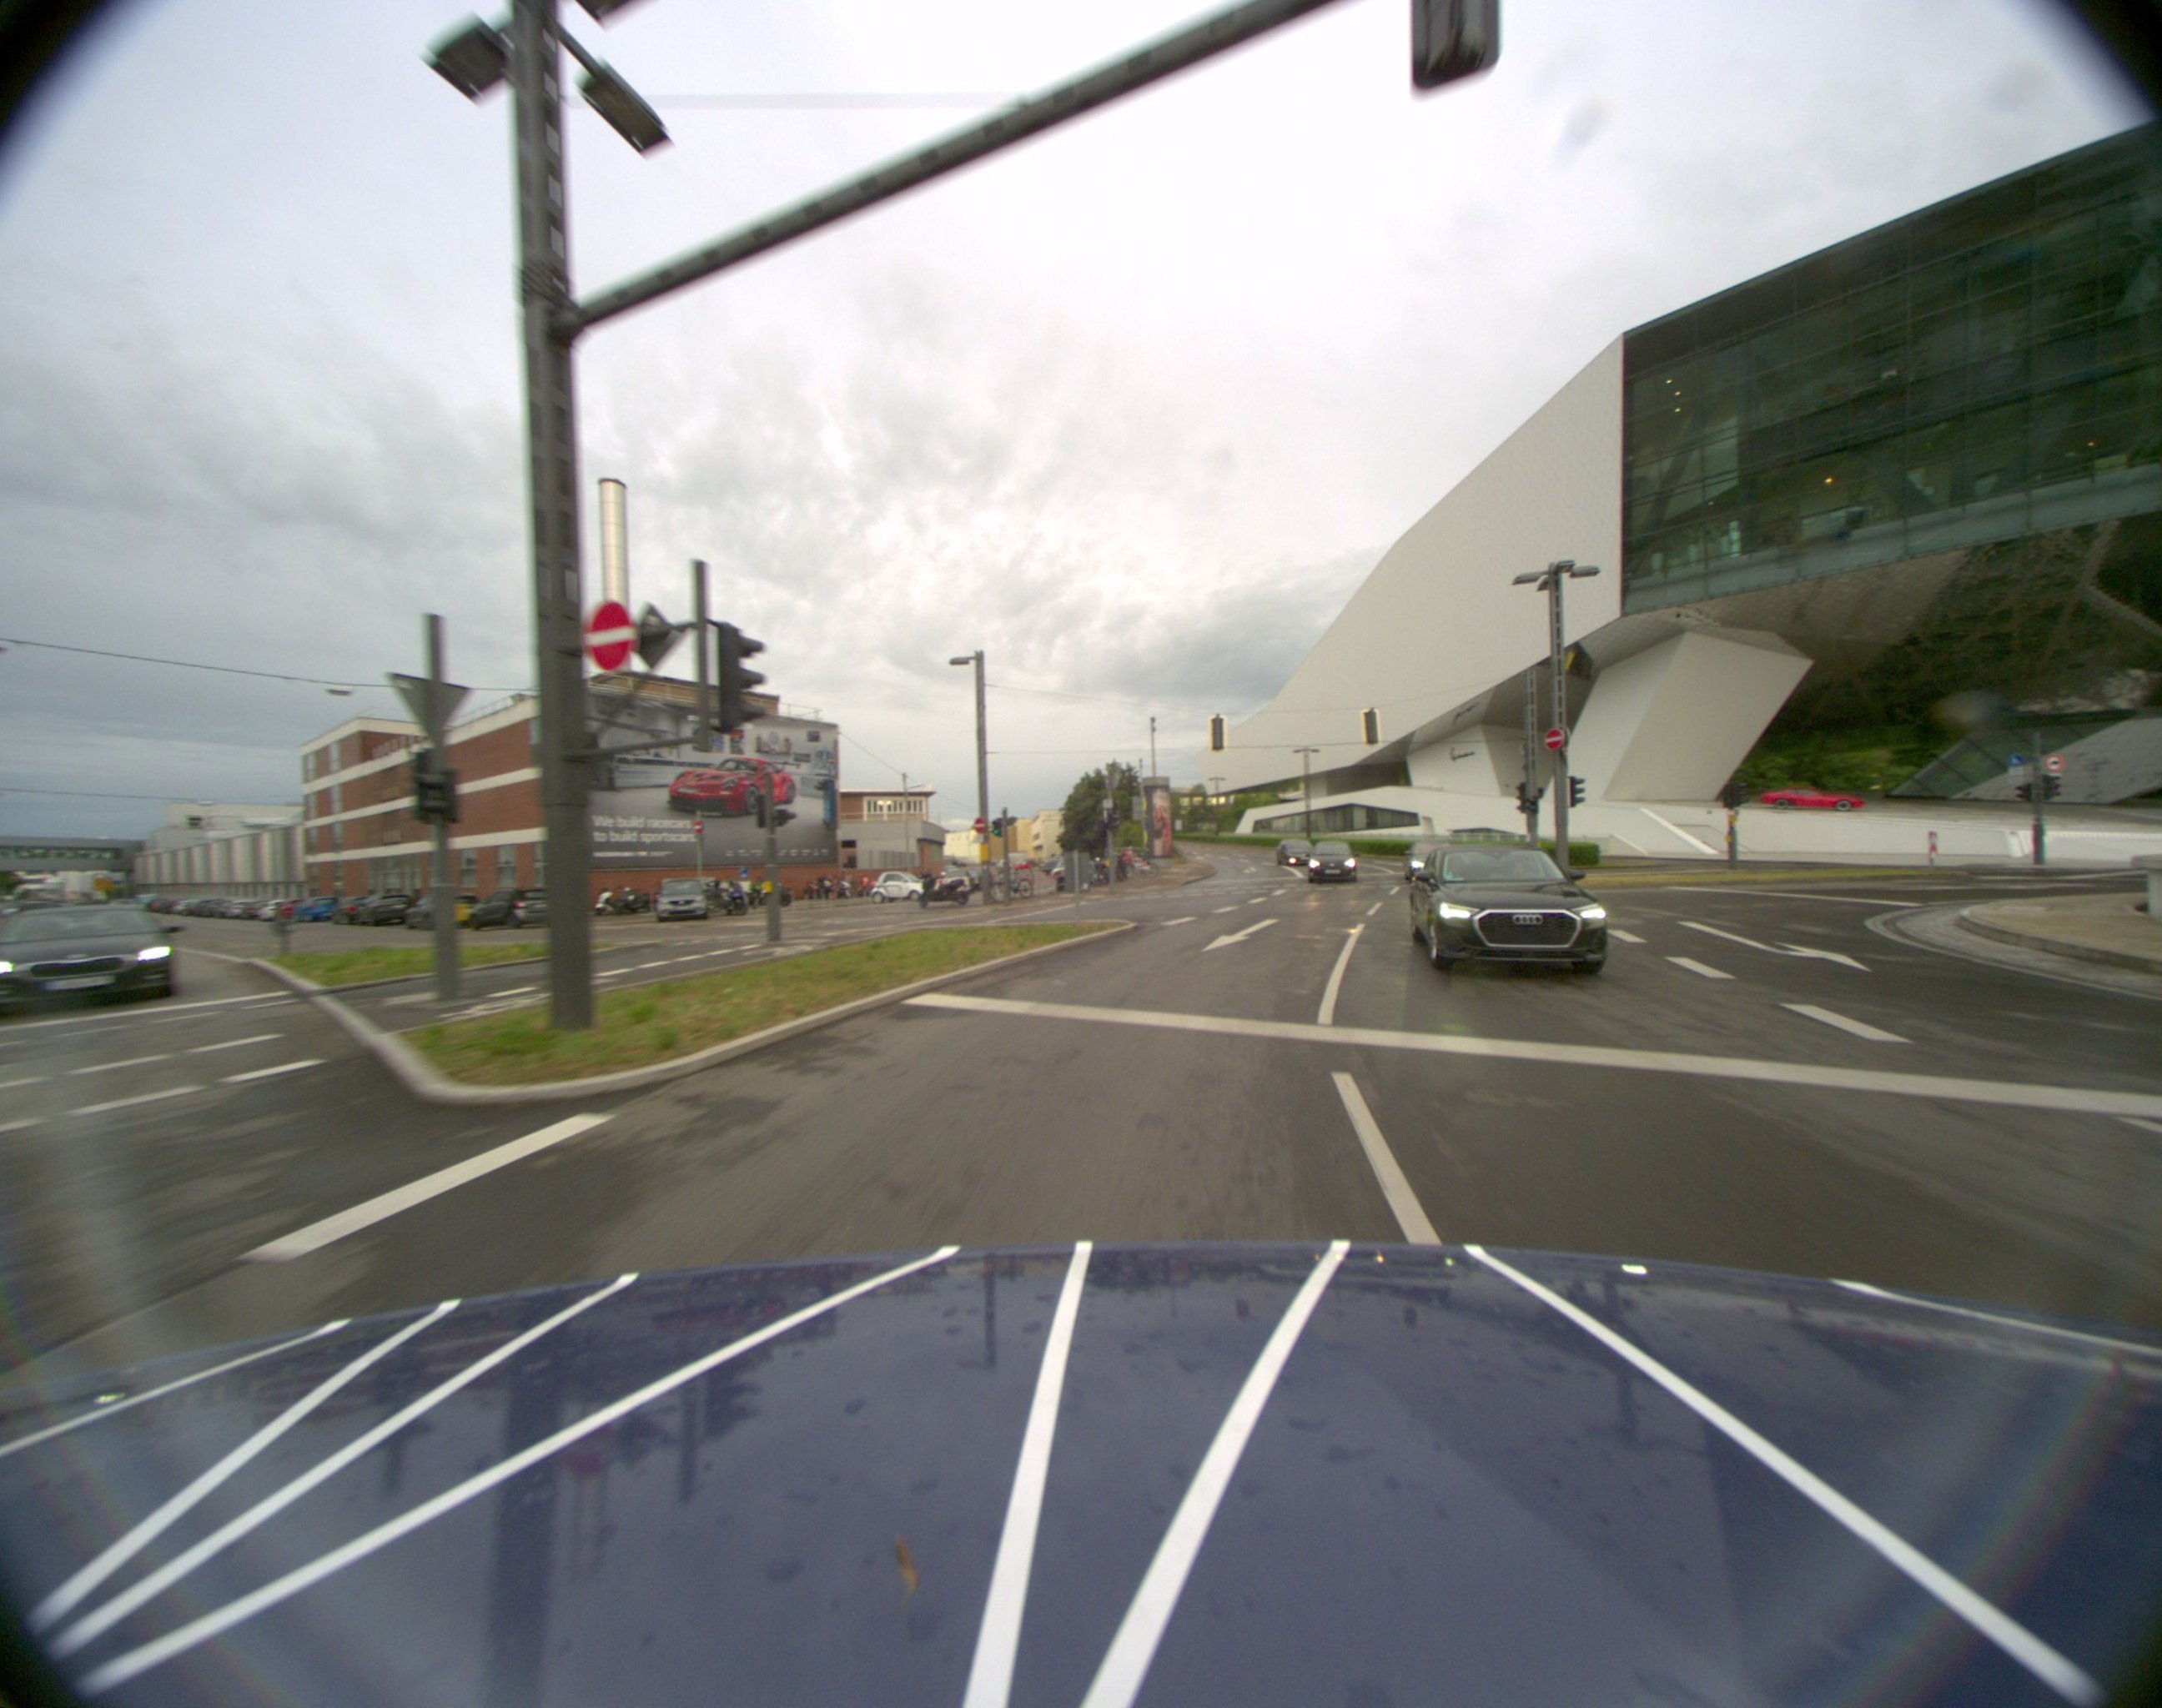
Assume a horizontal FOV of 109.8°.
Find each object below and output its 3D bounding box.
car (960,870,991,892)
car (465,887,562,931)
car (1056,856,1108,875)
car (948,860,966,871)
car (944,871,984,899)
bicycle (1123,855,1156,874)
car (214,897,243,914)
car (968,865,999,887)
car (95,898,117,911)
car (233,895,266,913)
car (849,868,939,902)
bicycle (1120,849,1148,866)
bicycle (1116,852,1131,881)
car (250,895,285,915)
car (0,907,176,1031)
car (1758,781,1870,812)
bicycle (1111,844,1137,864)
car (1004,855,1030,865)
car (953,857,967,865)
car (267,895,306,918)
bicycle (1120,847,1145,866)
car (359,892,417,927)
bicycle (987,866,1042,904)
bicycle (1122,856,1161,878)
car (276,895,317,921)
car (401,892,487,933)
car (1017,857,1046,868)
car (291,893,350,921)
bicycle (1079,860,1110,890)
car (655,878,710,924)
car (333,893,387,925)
[{"bbox_3d":[-7.944,1.982,57.423,1.719,1.417,3.999,-3,0,0],"label":"car"},{"bbox_3d":[-21.341,2.055,28.608,2.746,1.484,1.556,-3,-1,16],"label":"car"},{"bbox_3d":[0.068,0.939,63.942,3.993,1.417,1.722,-3,1,14],"label":"car"},{"bbox_3d":[-17.970,1.693,110.210,1.722,1.417,3.993,-3,1,-21],"label":"car"},{"bbox_3d":[-7.709,2.008,50.373,1.889,1.542,4.507,-3,0,-1],"label":"car"},{"bbox_3d":[2.926,0.517,38.047,1.614,0.916,0.422,-2,1,11],"label":"bicycle"},{"bbox_3d":[-76.549,4.590,68.204,3.361,1.234,1.462,-2,3,39],"label":"car"},{"bbox_3d":[-8.169,1.817,64.173,1.783,1.657,4.505,-3,0,2],"label":"car"},{"bbox_3d":[-116.703,6.027,90.965,3.361,1.234,1.462,-2,3,39],"label":"car"},{"bbox_3d":[-67.357,4.050,61.546,3.361,1.234,1.462,-2,3,39],"label":"car"},{"bbox_3d":[-9.373,1.545,38.178,3.994,1.480,1.569,-3,1,8],"label":"car"},{"bbox_3d":[3.139,0.183,44.797,1.707,0.917,0.485,-3,3,-36],"label":"bicycle"},{"bbox_3d":[1.924,0.553,34.057,0.400,1.168,2.016,-2,3,9],"label":"bicycle"},{"bbox_3d":[-62.127,3.879,58.007,3.361,1.234,1.462,-2,3,39],"label":"car"},{"bbox_3d":[-15.105,1.608,11.501,3.989,1.417,1.724,-2,1,40],"label":"car"},{"bbox_3d":[40.471,-3.185,42.081,4.230,1.378,2.004,9,8,43],"label":"car"},{"bbox_3d":[2.564,0.020,45.423,1.544,1.149,0.451,-1,3,-5],"label":"bicycle"},{"bbox_3d":[-10.362,1.002,122.989,4.001,1.417,1.718,-3,1,-14],"label":"car"},{"bbox_3d":[-24.254,1.447,152.591,1.722,1.417,3.992,-3,1,-24],"label":"car"},{"bbox_3d":[-54.742,3.593,52.348,3.379,1.368,1.462,-2,3,39],"label":"car"},{"bbox_3d":[2.981,0.129,43.758,1.464,1.068,0.442,-2,4,-31],"label":"bicycle"},{"bbox_3d":[-33.446,2.620,36.662,3.455,1.436,1.462,-2,3,39],"label":"car"},{"bbox_3d":[-2.343,1.088,27.035,2.077,1.124,0.420,-6,4,-43],"label":"bicycle"},{"bbox_3d":[2.823,0.594,35.283,1.743,0.956,0.421,-2,3,8],"label":"bicycle"},{"bbox_3d":[-50.337,3.436,48.739,3.379,1.436,1.462,-2,3,39],"label":"car"},{"bbox_3d":[-26.201,2.360,31.217,4.094,1.436,1.570,-2,3,34],"label":"car"},{"bbox_3d":[-7.162,1.196,109.888,4.001,1.417,1.718,-3,1,-14],"label":"car"},{"bbox_3d":[-45.908,3.186,45.868,3.380,1.436,1.700,-2,3,32],"label":"car"},{"bbox_3d":[0.549,0.832,30.800,0.347,1.078,1.747,0,3,33],"label":"bicycle"},{"bbox_3d":[-14.981,1.732,28.696,1.627,1.495,3.241,-3,1,-25],"label":"car"},{"bbox_3d":[-37.547,2.833,39.554,3.379,1.436,1.462,-2,3,39],"label":"car"}]
